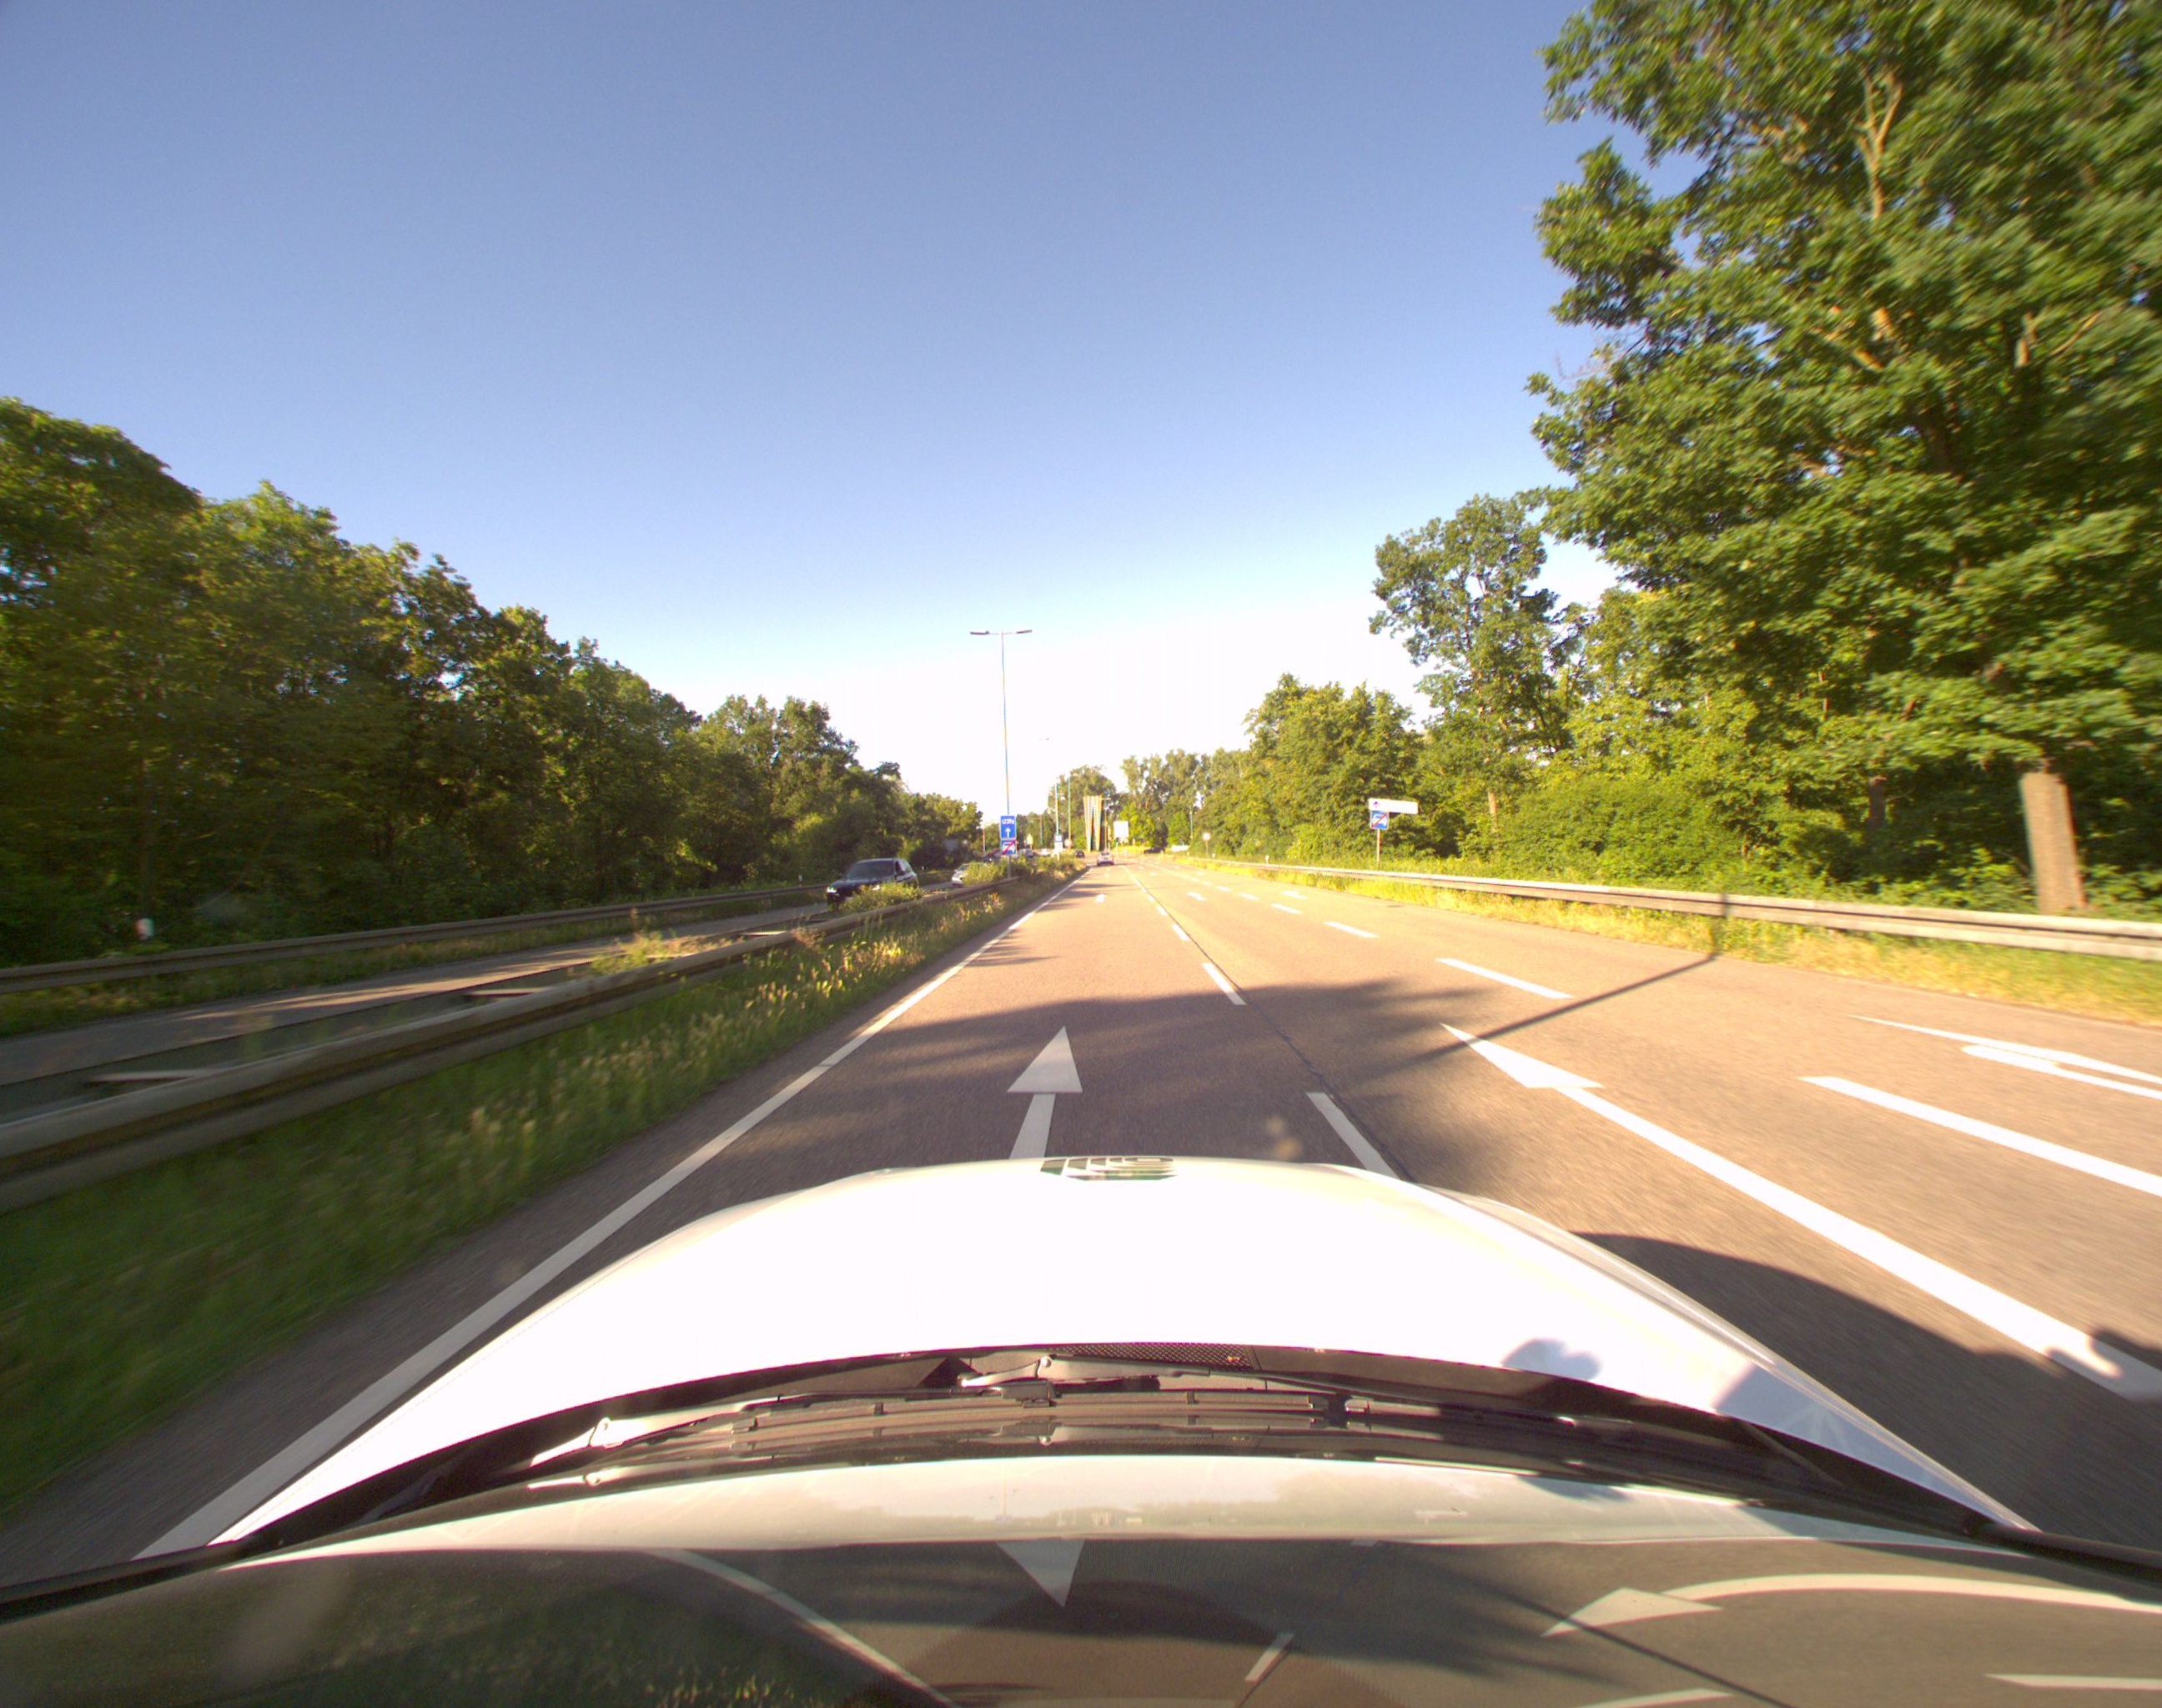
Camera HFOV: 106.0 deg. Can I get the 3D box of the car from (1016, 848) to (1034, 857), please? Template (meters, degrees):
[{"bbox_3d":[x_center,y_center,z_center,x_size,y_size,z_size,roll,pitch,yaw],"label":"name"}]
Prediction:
[{"bbox_3d":[-10.957,-0.283,159.262,1.980,1.698,3.965,-3,1,-27],"label":"car"}]

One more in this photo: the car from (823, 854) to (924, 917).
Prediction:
[{"bbox_3d":[-6.360,0.901,25.473,1.778,1.710,4.549,-2,0,2],"label":"car"}]

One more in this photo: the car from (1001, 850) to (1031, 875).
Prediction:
[{"bbox_3d":[-5.005,0.635,63.368,1.827,1.772,4.340,-2,0,2],"label":"car"}]

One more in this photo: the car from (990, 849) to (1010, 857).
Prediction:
[{"bbox_3d":[-16.572,-0.159,167.223,2.285,1.508,3.954,-2,0,-38],"label":"car"}]

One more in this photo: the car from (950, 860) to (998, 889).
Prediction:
[{"bbox_3d":[-5.695,1.067,43.751,1.766,1.356,4.464,-2,0,2],"label":"car"}]

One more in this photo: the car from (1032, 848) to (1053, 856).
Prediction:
[{"bbox_3d":[-7.537,-0.325,160.242,1.987,1.474,4.104,-4,2,-43],"label":"car"}]

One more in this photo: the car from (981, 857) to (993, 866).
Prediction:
[{"bbox_3d":[-16.337,1.309,142.227,1.801,1.416,4.526,-3,0,-4],"label":"car"}]

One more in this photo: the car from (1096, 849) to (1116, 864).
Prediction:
[{"bbox_3d":[2.901,0.269,96.428,1.989,1.640,4.124,-3,1,-3],"label":"car"}]
